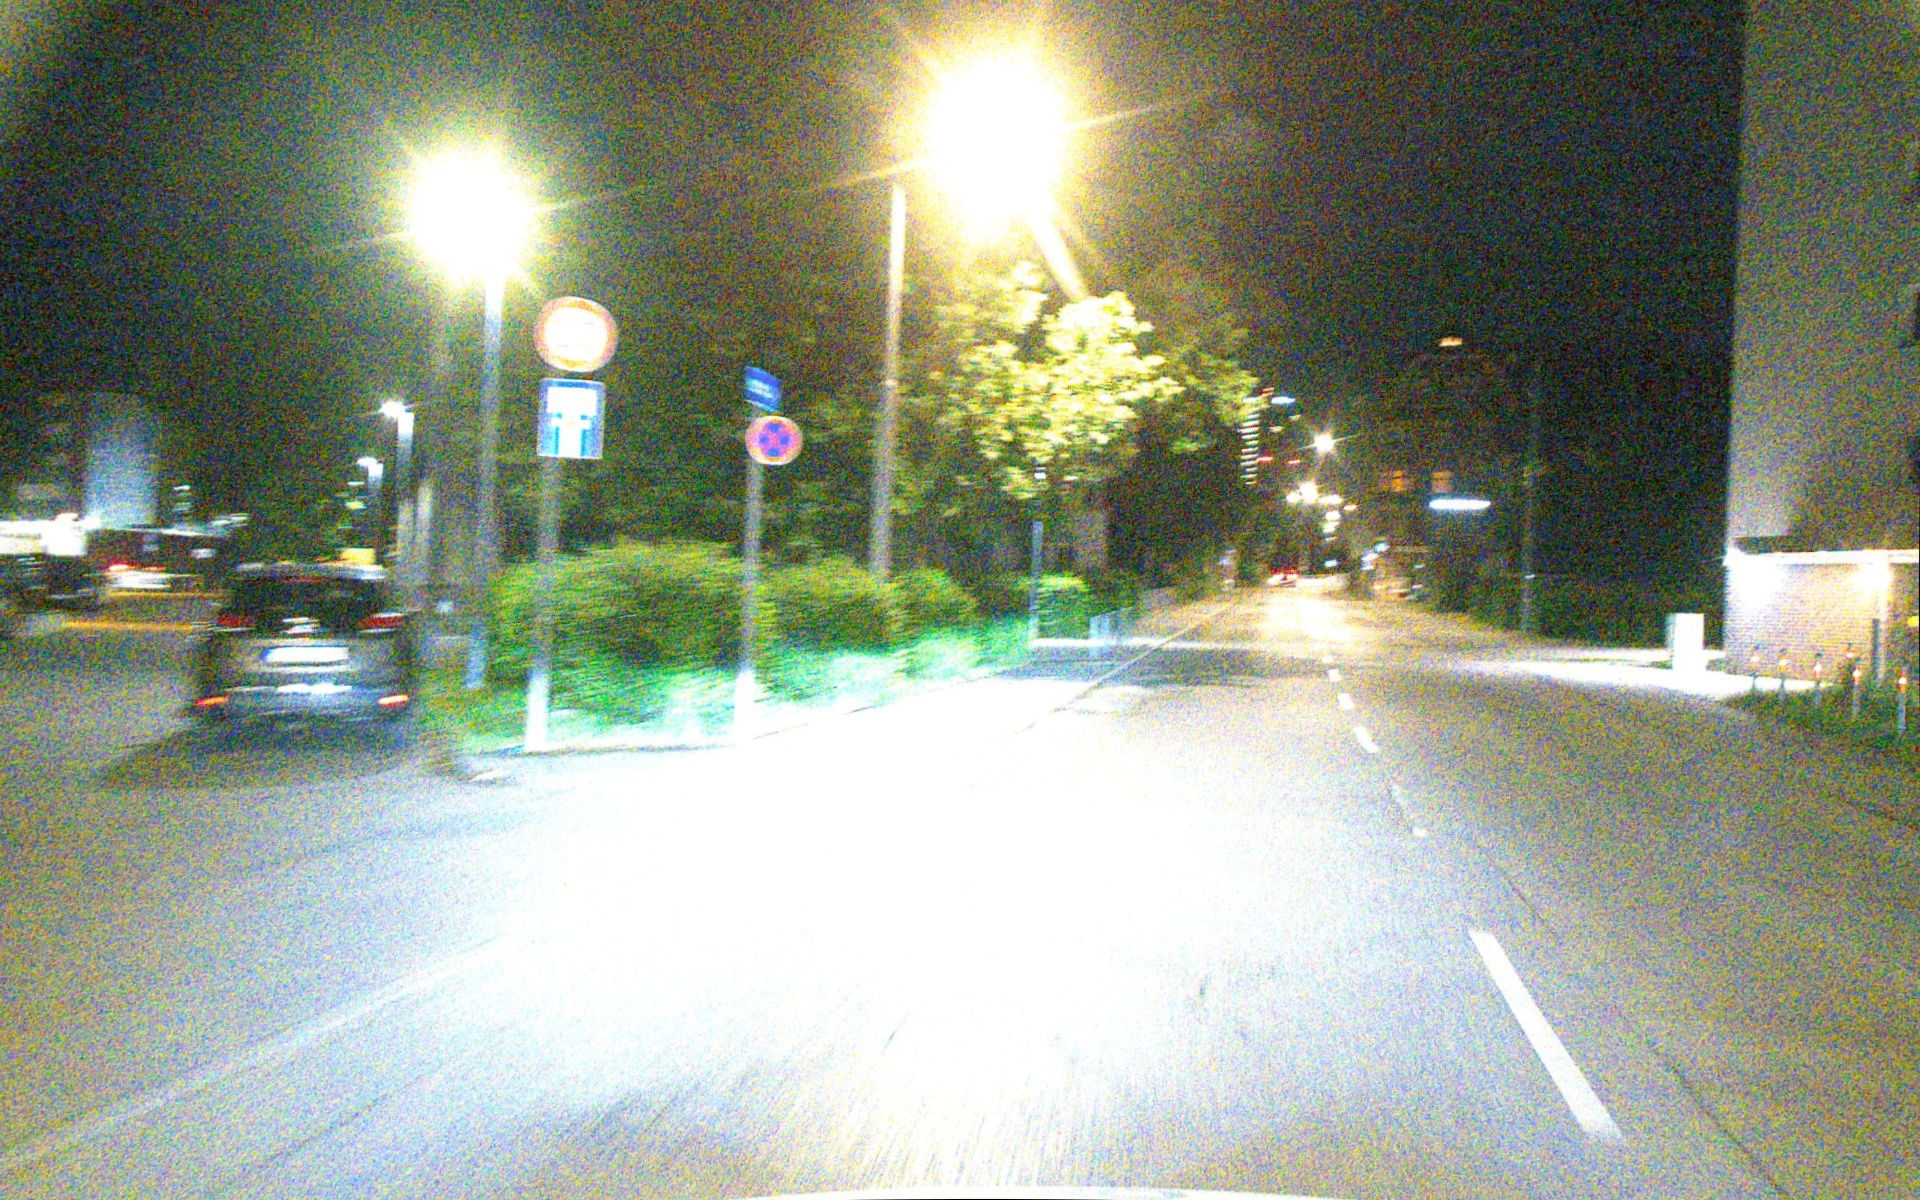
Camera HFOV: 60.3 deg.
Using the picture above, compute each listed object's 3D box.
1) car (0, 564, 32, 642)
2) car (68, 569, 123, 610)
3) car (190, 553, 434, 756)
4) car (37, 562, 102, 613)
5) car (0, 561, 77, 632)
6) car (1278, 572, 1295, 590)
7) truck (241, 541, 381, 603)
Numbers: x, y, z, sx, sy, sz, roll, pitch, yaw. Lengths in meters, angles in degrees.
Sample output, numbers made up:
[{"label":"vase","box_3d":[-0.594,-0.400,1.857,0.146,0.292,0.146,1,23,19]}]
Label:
[{"label":"car","box_3d":[-20.479,0.018,34.171,1.681,1.536,4.072,3,-1,-22]},{"label":"car","box_3d":[-35.165,-0.418,67.358,1.585,1.542,3.782,2,-1,-22]},{"label":"car","box_3d":[-5.966,0.430,15.542,1.856,1.631,4.084,0,0,-19]},{"label":"car","box_3d":[-33.152,-0.463,61.659,1.615,1.791,3.937,2,-1,-22]},{"label":"car","box_3d":[-22.469,-0.081,39.762,1.653,1.593,4.078,2,-1,-21]},{"label":"car","box_3d":[37.729,-2.164,190.911,1.884,1.886,4.003,1,-1,12]},{"label":"truck","box_3d":[-34.173,-1.457,87.183,6.688,2.894,1.985,3,0,-25]}]
